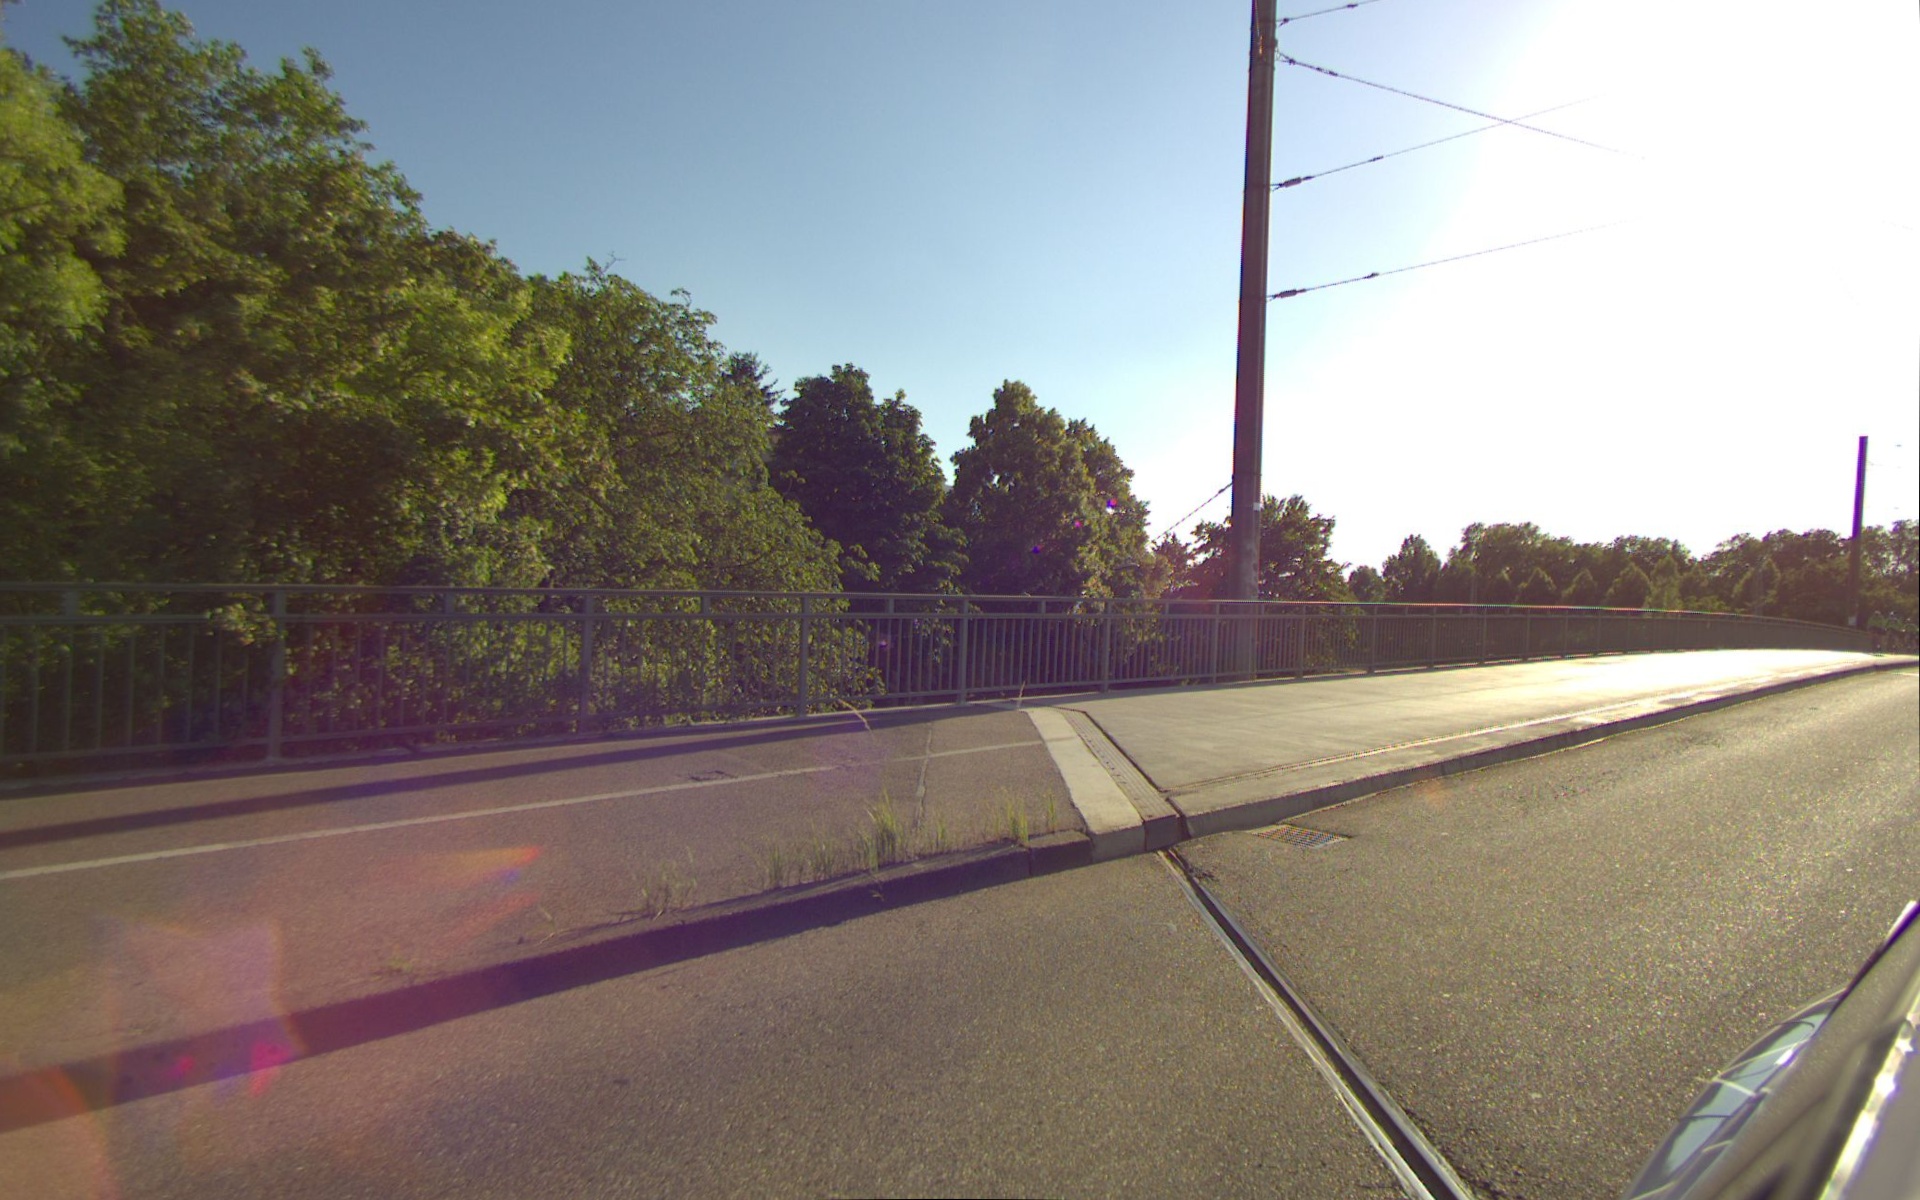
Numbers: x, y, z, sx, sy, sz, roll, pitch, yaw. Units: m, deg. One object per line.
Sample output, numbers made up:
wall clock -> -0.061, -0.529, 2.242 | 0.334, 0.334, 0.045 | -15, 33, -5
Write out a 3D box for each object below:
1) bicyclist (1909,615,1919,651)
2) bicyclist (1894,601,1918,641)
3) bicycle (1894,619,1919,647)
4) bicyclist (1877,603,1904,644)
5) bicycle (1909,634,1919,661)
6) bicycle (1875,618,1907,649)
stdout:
bicyclist -> 42.713, 1.477, 44.876 | 0.880, 1.582, 0.813 | 5, -3, -41
bicyclist -> 39.378, 0.885, 42.119 | 0.914, 1.613, 0.626 | 3, -2, -41
bicycle -> 39.397, 1.378, 42.090 | 2.006, 1.137, 0.626 | 3, -1, -41
bicyclist -> 36.215, 0.923, 39.380 | 0.988, 1.527, 0.626 | 4, -2, -40
bicycle -> 42.661, 2.121, 44.848 | 2.177, 1.137, 0.684 | 5, -3, -41
bicycle -> 36.234, 1.304, 39.392 | 2.219, 1.137, 0.626 | 3, -2, -40
